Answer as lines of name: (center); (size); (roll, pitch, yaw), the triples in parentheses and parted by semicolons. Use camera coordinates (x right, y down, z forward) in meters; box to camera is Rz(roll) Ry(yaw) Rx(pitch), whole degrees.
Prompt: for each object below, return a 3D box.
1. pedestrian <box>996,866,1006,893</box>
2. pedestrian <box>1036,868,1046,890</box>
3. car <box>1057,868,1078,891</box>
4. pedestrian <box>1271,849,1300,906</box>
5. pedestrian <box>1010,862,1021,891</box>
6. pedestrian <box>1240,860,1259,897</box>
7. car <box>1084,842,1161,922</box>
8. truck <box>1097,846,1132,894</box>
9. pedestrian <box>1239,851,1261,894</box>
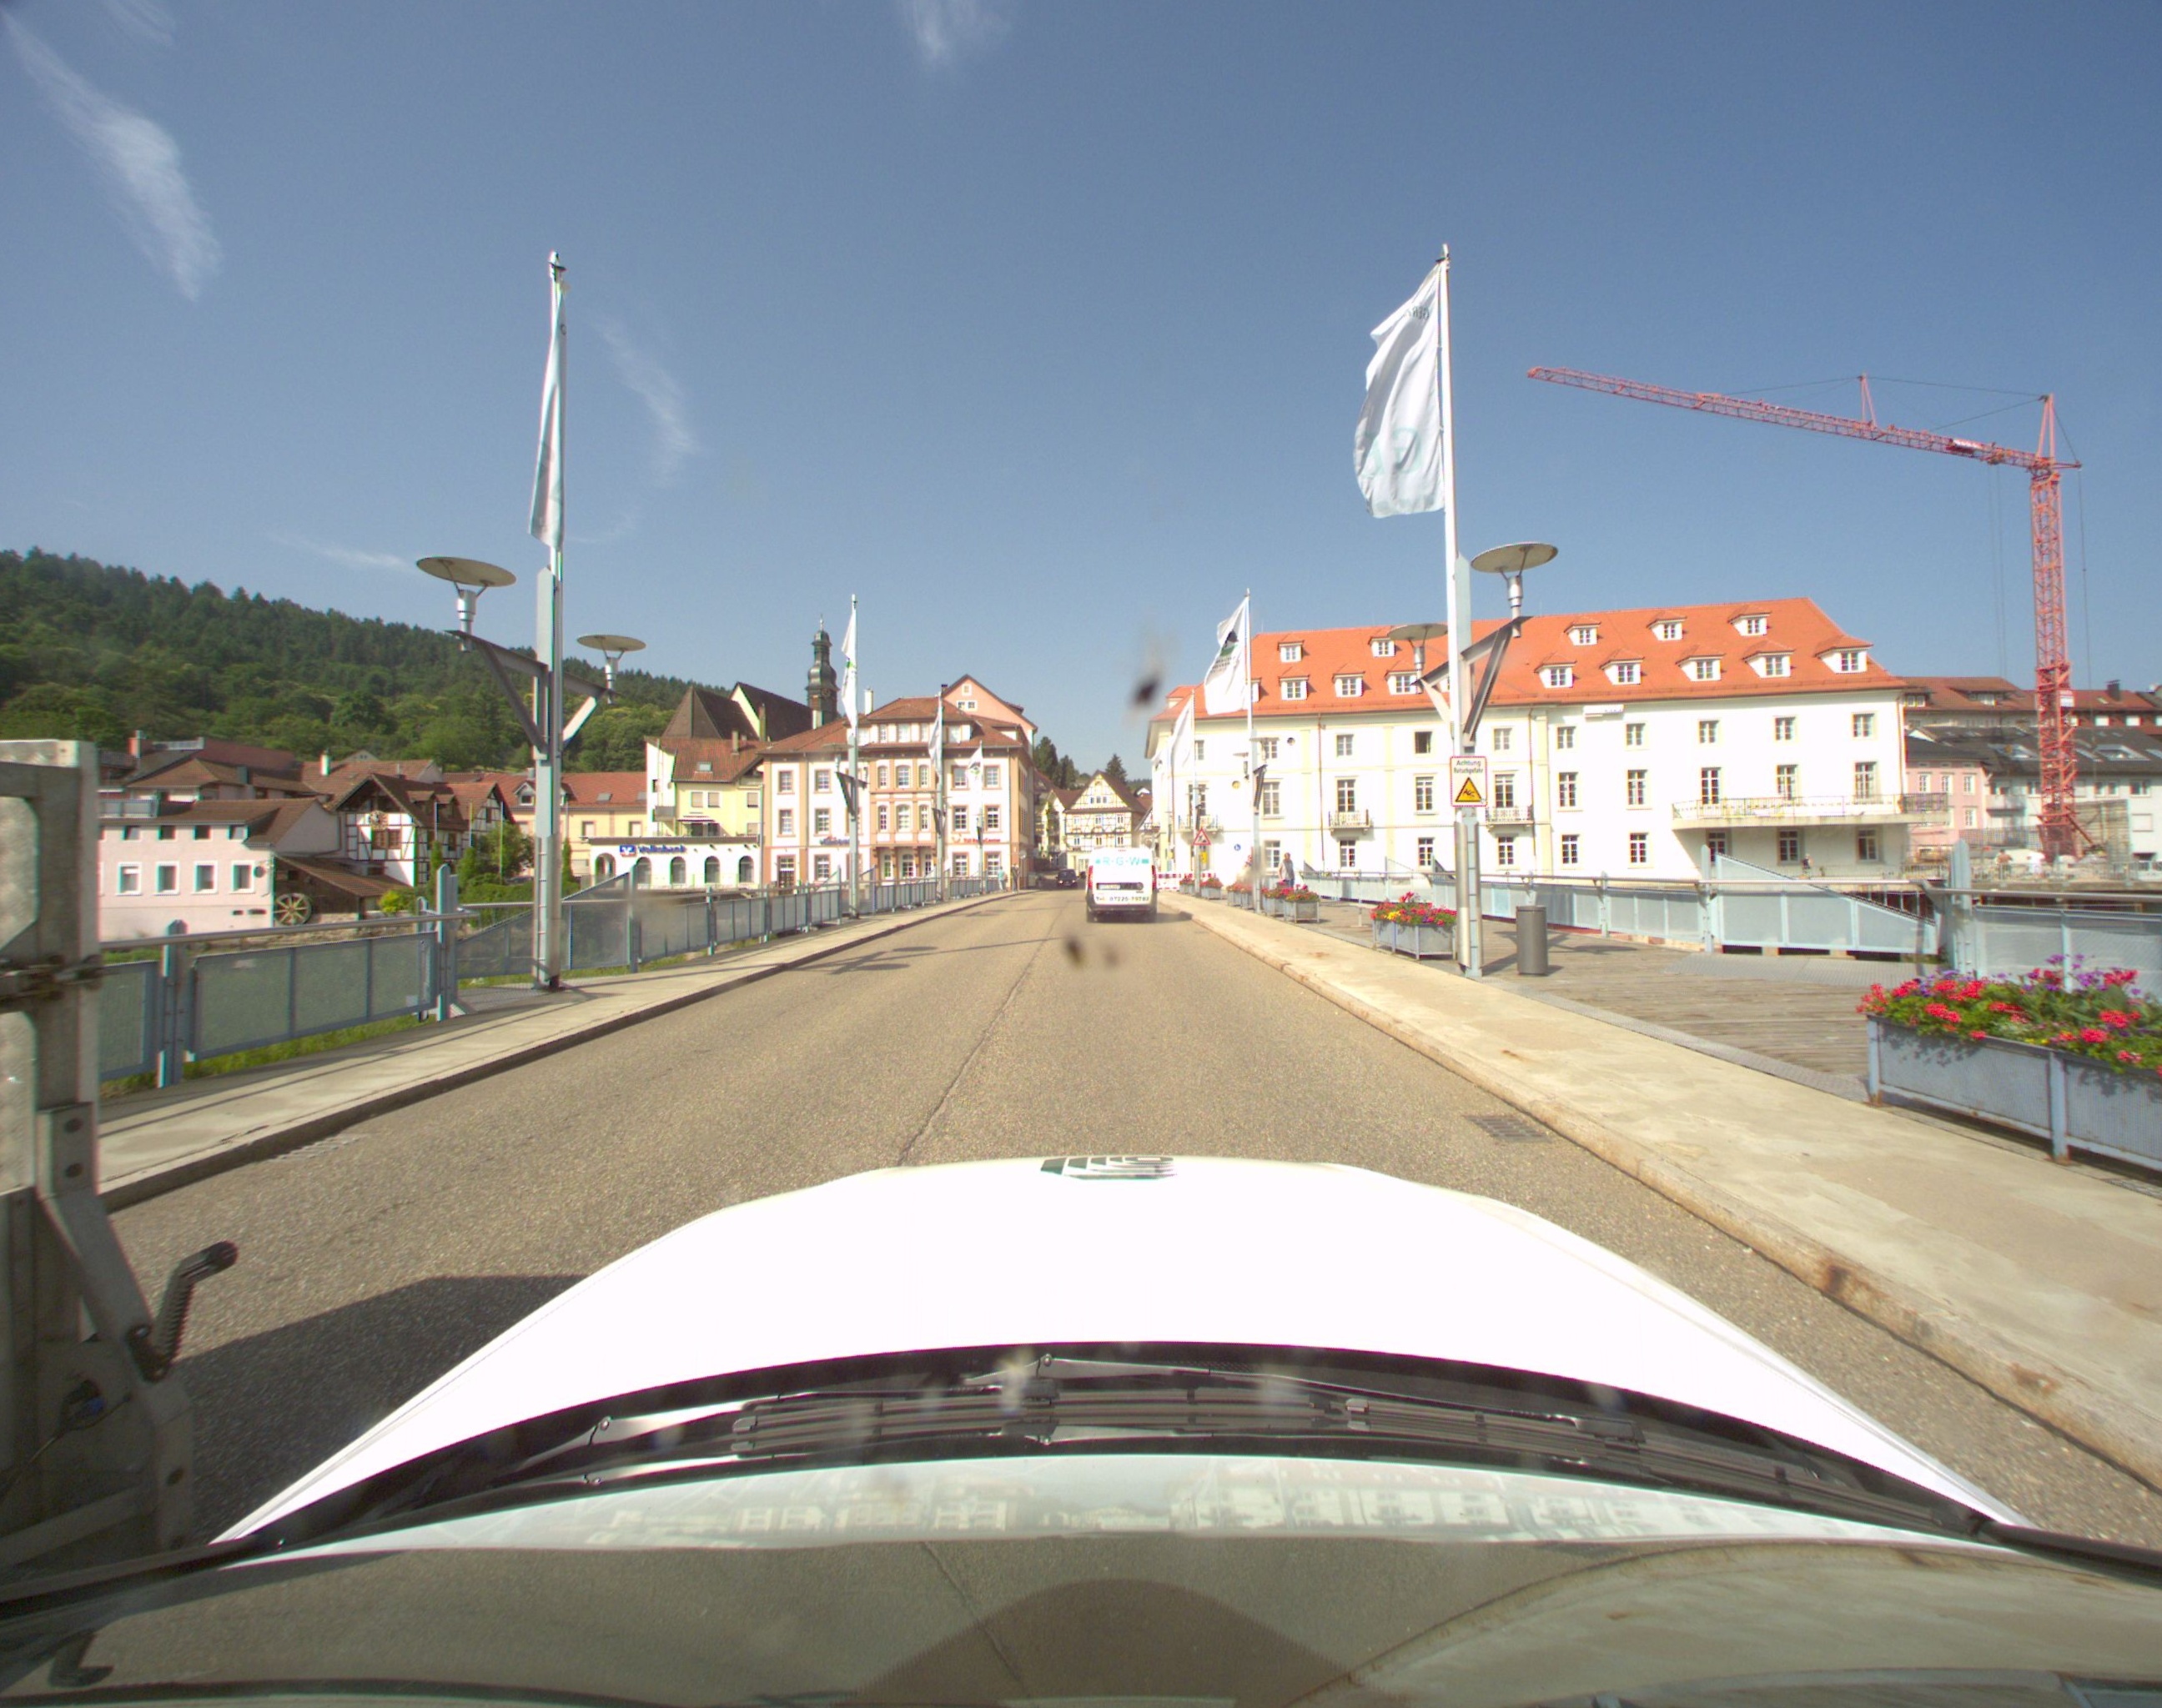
pedestrian: (-4.809, 1.533, 49.177); (0.583, 1.610, 0.536); (0, -1, -8)
pedestrian: (-3.387, 2.093, 68.755); (0.801, 1.857, 0.616); (-1, 0, 0)
car: (-1.150, 2.167, 70.261); (1.771, 1.792, 4.695); (0, 0, -1)
pedestrian: (5.945, 0.670, 23.692); (0.663, 1.618, 0.563); (-1, -1, 0)
pedestrian: (-3.930, 1.340, 49.138); (0.614, 1.762, 0.861); (0, -1, -8)
pedestrian: (5.752, 0.846, 27.817); (0.451, 1.244, 0.625); (-1, -2, -4)
car: (1.004, 0.706, 21.714); (1.838, 1.906, 4.314); (0, -1, 0)
truck: (1.897, 0.900, 46.725); (1.855, 2.585, 4.260); (-1, -1, 0)
pedestrian: (6.824, 0.731, 32.926); (0.723, 1.723, 0.747); (-1, -1, 2)
